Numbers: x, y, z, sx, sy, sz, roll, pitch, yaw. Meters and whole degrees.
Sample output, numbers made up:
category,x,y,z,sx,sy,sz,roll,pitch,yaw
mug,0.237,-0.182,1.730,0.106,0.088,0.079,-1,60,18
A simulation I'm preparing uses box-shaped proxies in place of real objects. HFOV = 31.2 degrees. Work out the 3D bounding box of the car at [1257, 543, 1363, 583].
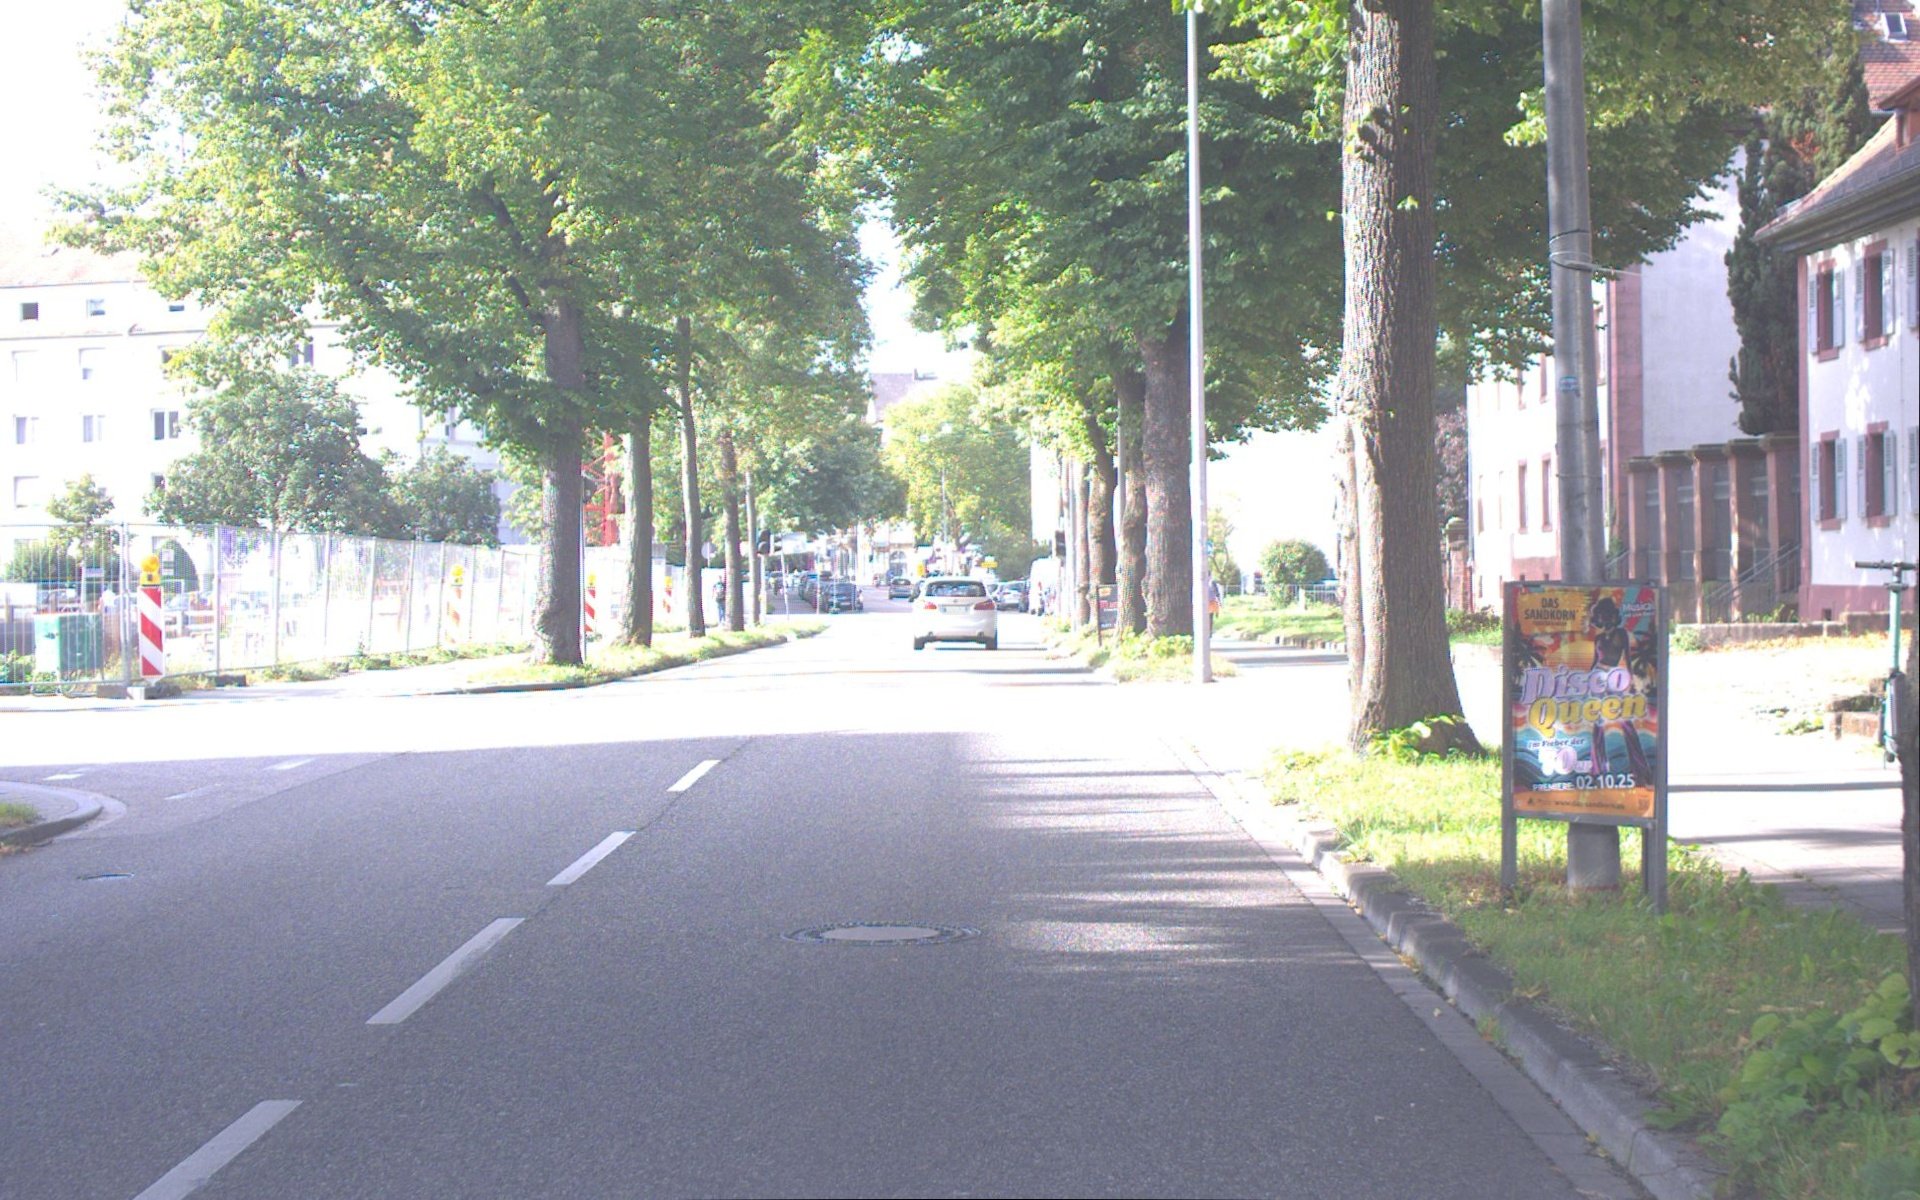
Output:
category,x,y,z,sx,sy,sz,roll,pitch,yaw
car,15.143,-1.612,148.955,4.449,1.616,2.000,-1,1,4

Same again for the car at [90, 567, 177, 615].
category,x,y,z,sx,sy,sz,roll,pitch,yaw
car,-35.987,-0.400,149.774,1.995,2.007,3.997,-1,1,15

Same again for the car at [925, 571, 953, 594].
category,x,y,z,sx,sy,sz,roll,pitch,yaw
car,-1.597,-1.307,262.362,1.993,1.749,4.000,0,0,1

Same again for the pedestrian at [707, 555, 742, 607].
category,x,y,z,sx,sy,sz,roll,pitch,yaw
pedestrian,-7.894,-0.637,115.295,1.006,1.722,1.178,0,-1,-12

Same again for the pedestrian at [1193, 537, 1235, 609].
category,x,y,z,sx,sy,sz,roll,pitch,yaw
pedestrian,5.769,-0.609,78.134,0.814,1.585,0.769,-3,0,0

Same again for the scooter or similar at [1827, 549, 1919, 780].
category,x,y,z,sx,sy,sz,roll,pitch,yaw
scooter or similar,5.566,0.355,20.194,0.579,1.287,1.381,-3,1,2

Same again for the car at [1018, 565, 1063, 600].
category,x,y,z,sx,sy,sz,roll,pitch,yaw
car,3.866,-0.852,164.912,1.993,1.568,4.000,-1,1,-1

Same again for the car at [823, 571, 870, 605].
category,x,y,z,sx,sy,sz,roll,pitch,yaw
car,-5.650,-0.609,170.443,1.993,1.634,4.001,-1,1,-6

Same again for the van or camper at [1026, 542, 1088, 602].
category,x,y,z,sx,sy,sz,roll,pitch,yaw
van or camper,4.327,-1.258,153.973,2.209,2.598,5.372,-1,1,-4

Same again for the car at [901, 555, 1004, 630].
category,x,y,z,sx,sy,sz,roll,pitch,yaw
car,-0.198,-0.162,73.618,1.993,1.549,4.274,0,0,-3

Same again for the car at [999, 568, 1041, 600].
category,x,y,z,sx,sy,sz,roll,pitch,yaw
car,3.062,-0.836,175.499,1.993,1.568,4.000,-1,1,-1

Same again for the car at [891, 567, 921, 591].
category,x,y,z,sx,sy,sz,roll,pitch,yaw
car,-3.927,-1.514,250.484,1.993,1.749,4.000,0,0,1
